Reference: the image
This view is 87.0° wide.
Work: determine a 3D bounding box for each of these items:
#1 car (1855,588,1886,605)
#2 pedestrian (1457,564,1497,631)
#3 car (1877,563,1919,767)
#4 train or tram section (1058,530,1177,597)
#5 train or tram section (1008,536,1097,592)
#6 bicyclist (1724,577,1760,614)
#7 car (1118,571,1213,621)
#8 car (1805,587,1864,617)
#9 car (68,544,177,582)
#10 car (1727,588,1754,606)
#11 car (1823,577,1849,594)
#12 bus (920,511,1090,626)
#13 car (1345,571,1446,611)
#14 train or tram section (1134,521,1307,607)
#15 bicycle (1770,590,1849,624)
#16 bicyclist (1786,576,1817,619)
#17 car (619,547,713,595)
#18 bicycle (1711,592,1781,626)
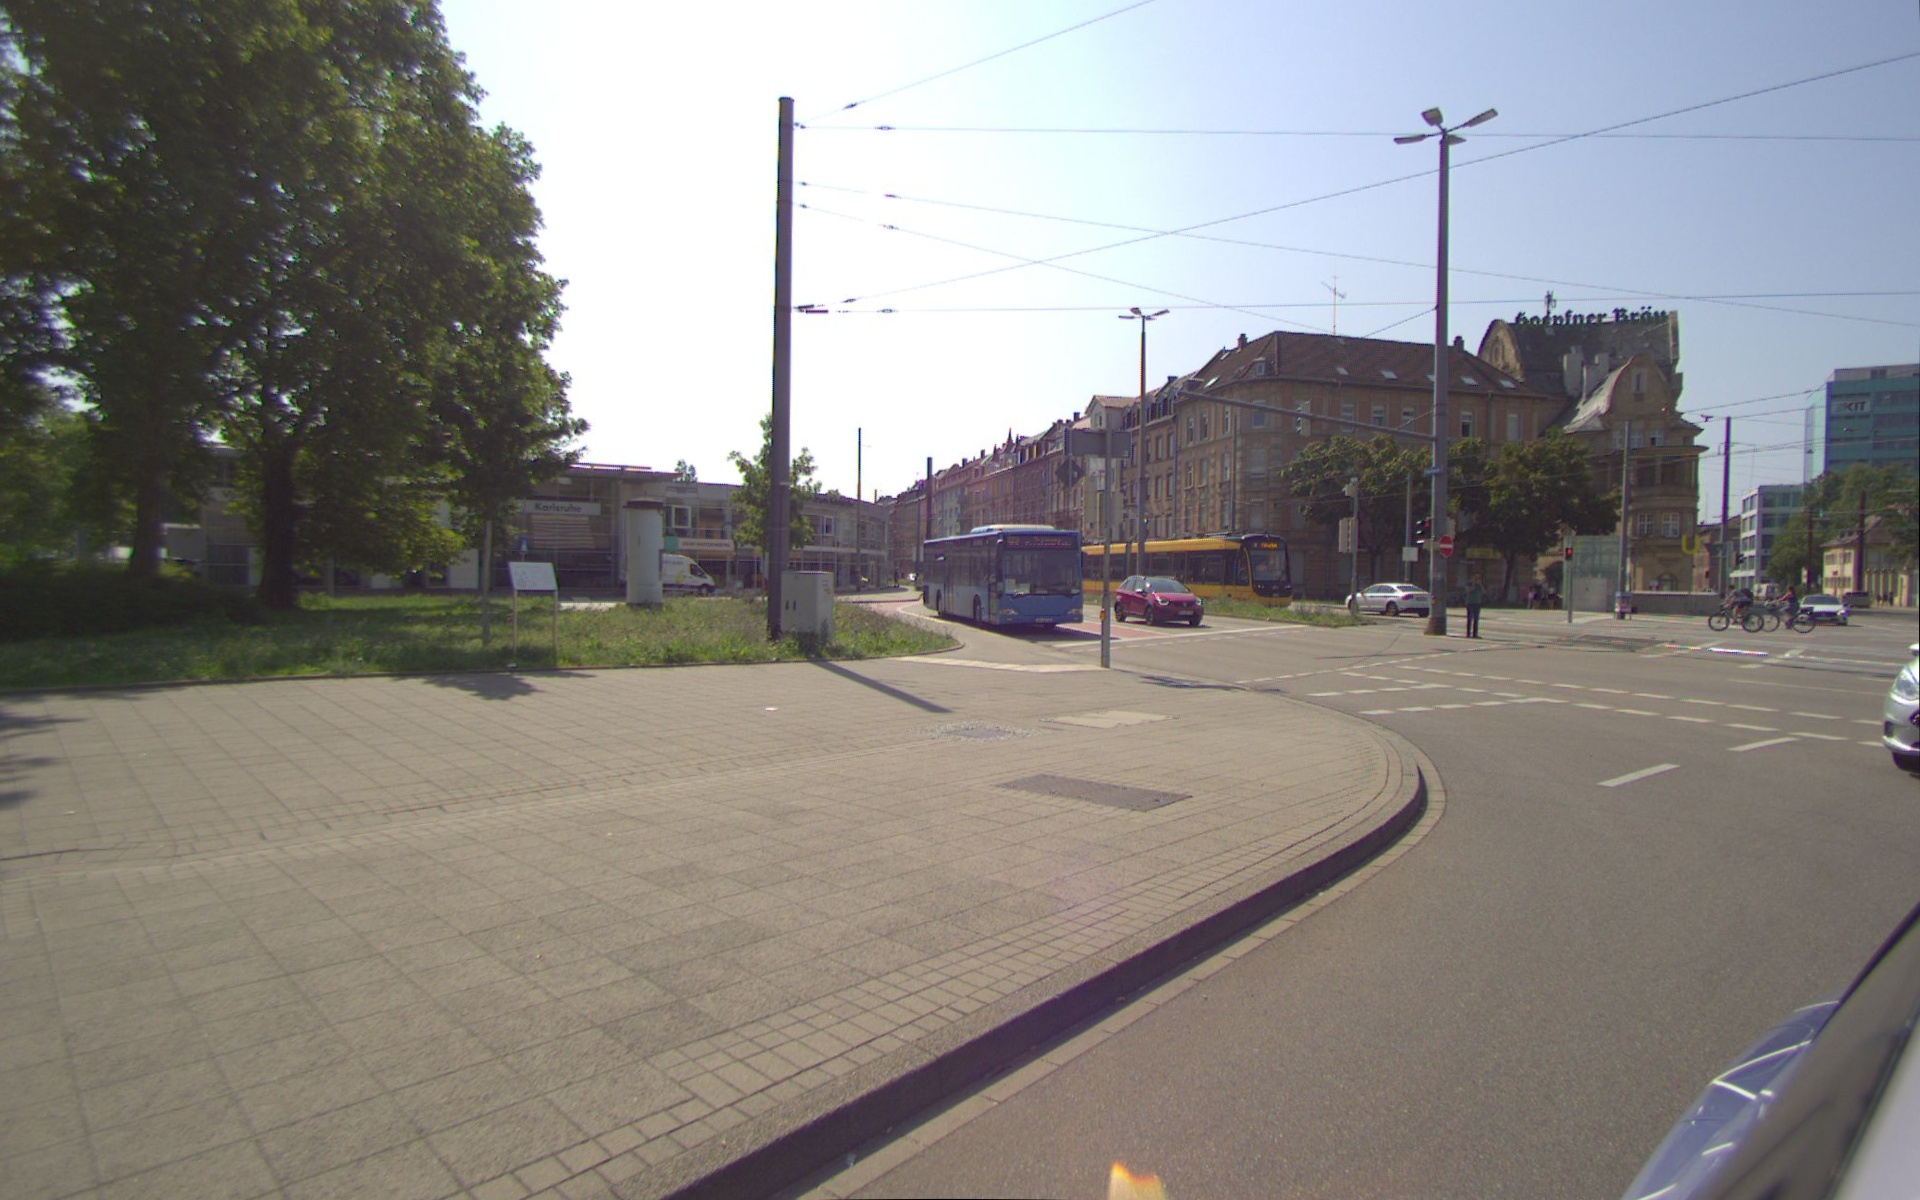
[{"bbox_3d":[98.047,-0.326,109.040,1.988,1.705,3.948,2,0,35],"label":"car"},{"bbox_3d":[13.646,-0.073,26.714,0.798,1.708,0.712,4,2,29],"label":"pedestrian"},{"bbox_3d":[9.746,0.524,8.408,4.271,1.614,1.696,0,2,-27],"label":"car"},{"bbox_3d":[9.126,-2.166,60.858,2.541,3.604,12.245,1,2,-13],"label":"train or tram section"},{"bbox_3d":[6.372,-2.574,72.437,2.541,3.604,12.245,1,2,-13],"label":"train or tram section"},{"bbox_3d":[27.316,-0.175,35.343,0.862,1.249,1.084,2,2,44],"label":"bicyclist"},{"bbox_3d":[6.548,-0.168,32.619,1.596,1.490,3.780,-1,2,-12],"label":"car"},{"bbox_3d":[41.151,0.097,47.672,1.577,1.304,3.683,2,1,33],"label":"car"},{"bbox_3d":[-41.403,-1.840,50.170,1.685,1.775,4.256,1,2,4],"label":"car"},{"bbox_3d":[65.842,-0.209,85.389,1.363,1.415,3.221,2,0,30],"label":"car"},{"bbox_3d":[107.432,-1.784,124.102,1.988,1.928,3.948,2,0,35],"label":"car"},{"bbox_3d":[1.022,-1.027,33.633,2.677,3.102,12.108,1,1,-12],"label":"bus"},{"bbox_3d":[19.476,-0.442,45.514,1.735,1.638,4.613,1,2,-13],"label":"car"},{"bbox_3d":[12.041,-1.724,48.615,2.541,3.604,12.245,1,2,-13],"label":"train or tram section"},{"bbox_3d":[30.523,0.240,36.405,0.432,1.125,2.131,0,3,-29],"label":"bicycle"},{"bbox_3d":[30.408,-0.099,36.585,0.645,1.499,0.645,-1,2,-30],"label":"bicyclist"},{"bbox_3d":[-17.513,-1.702,60.511,1.843,2.617,5.133,2,0,44],"label":"car"},{"bbox_3d":[27.382,0.292,35.283,1.850,1.125,0.701,2,2,44],"label":"bicycle"}]
